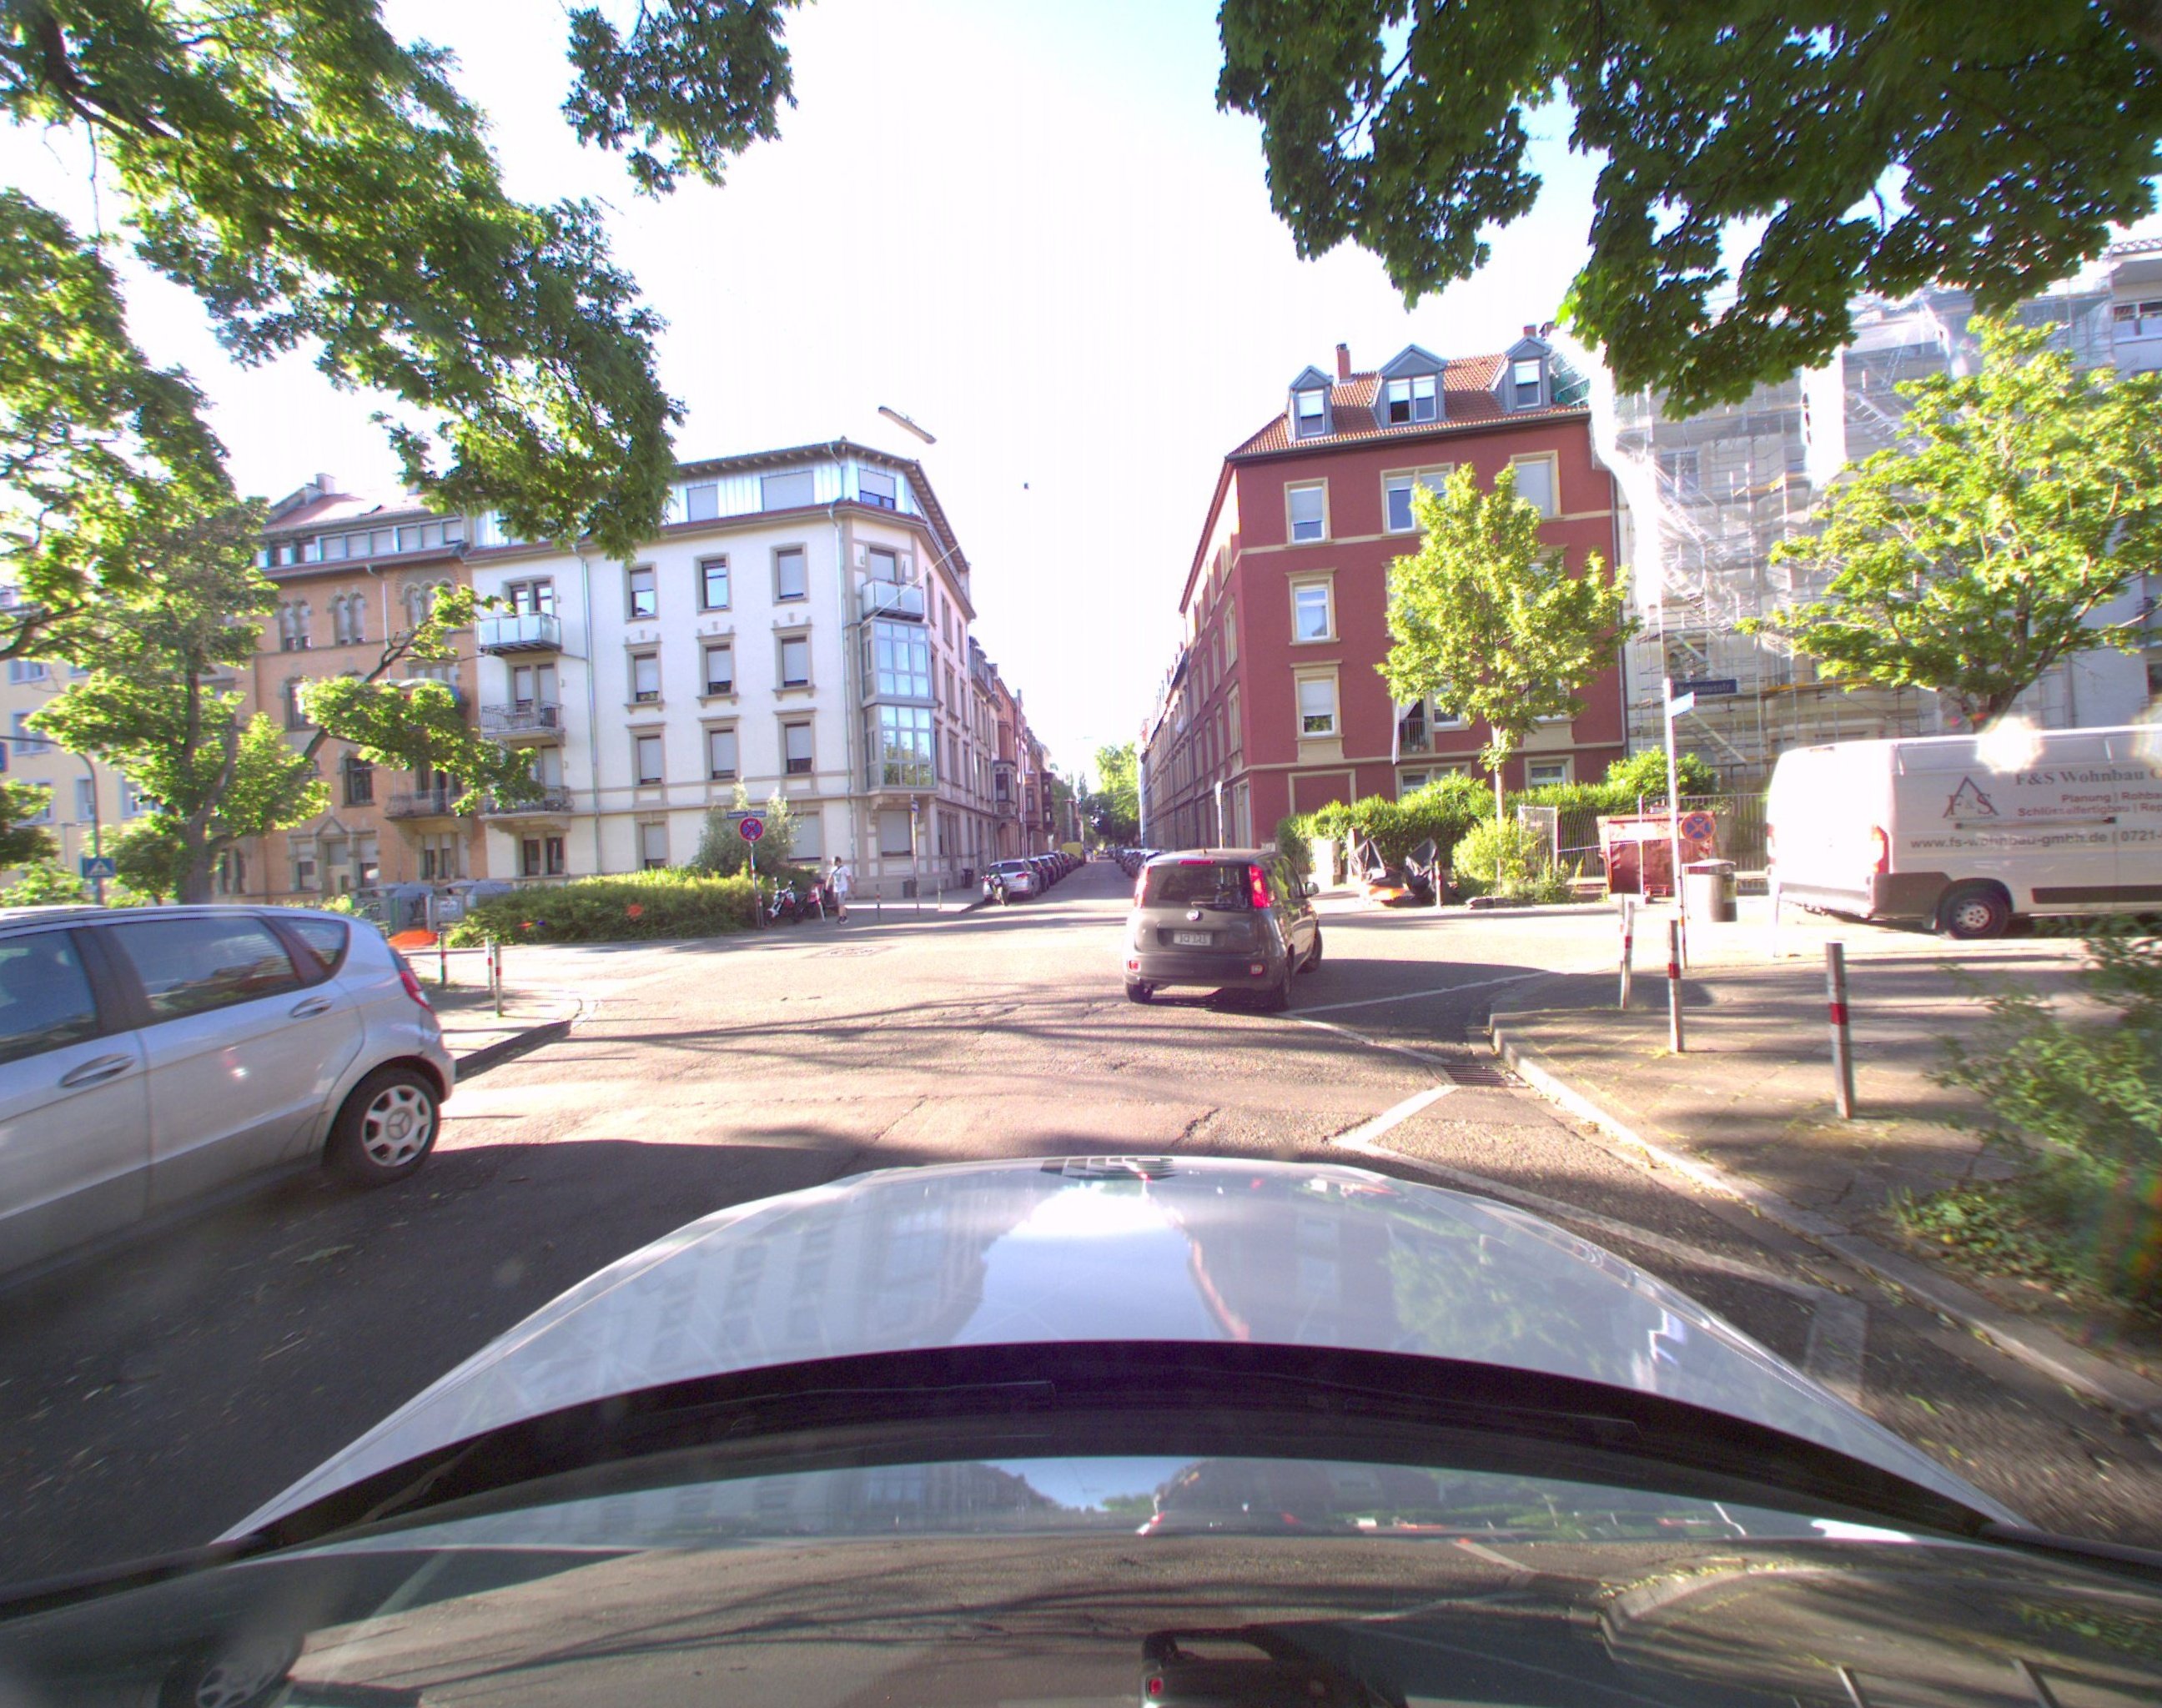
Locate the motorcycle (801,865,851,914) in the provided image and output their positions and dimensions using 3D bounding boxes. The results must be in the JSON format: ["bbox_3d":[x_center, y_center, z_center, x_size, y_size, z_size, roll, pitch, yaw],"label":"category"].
[{"bbox_3d":[-7.265,0.986,23.260,0.514,1.294,1.619,-1,1,16],"label":"motorcycle"}]

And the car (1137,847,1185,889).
[{"bbox_3d":[3.038,0.501,31.550,1.656,1.505,3.760,-2,0,3],"label":"car"}]

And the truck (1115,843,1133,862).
[{"bbox_3d":[5.033,-0.190,95.832,1.986,1.992,4.002,-3,0,2],"label":"truck"}]

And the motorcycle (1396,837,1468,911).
[{"bbox_3d":[7.600,0.387,17.779,0.821,1.404,2.564,-3,2,10],"label":"motorcycle"}]

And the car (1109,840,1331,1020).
[{"bbox_3d":[1.687,0.643,8.956,1.618,1.550,3.283,0,1,24],"label":"car"}]

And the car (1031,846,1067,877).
[{"bbox_3d":[-1.968,0.462,51.191,1.768,1.698,3.928,-6,0,3],"label":"car"}]

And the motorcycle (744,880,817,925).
[{"bbox_3d":[-7.689,1.220,20.914,0.683,0.985,1.831,2,2,22],"label":"motorcycle"}]

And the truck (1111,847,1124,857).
[{"bbox_3d":[5.806,-0.381,130.030,1.986,1.456,4.002,-3,0,2],"label":"truck"}]

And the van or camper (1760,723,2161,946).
[{"bbox_3d":[12.355,-0.293,10.201,5.552,2.445,2.152,-3,2,11],"label":"van or camper"}]

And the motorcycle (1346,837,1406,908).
[{"bbox_3d":[6.639,0.373,18.448,1.012,1.404,2.201,-3,2,14],"label":"motorcycle"}]

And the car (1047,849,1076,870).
[{"bbox_3d":[-1.583,0.464,68.136,1.954,1.479,3.928,-6,0,3],"label":"car"}]

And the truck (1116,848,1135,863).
[{"bbox_3d":[4.923,0.165,90.451,1.986,1.456,4.002,-3,0,2],"label":"truck"}]

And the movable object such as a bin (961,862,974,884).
[{"bbox_3d":[-5.246,0.872,37.574,0.510,0.952,0.501,-3,0,-1],"label":"movable object such as a bin"}]

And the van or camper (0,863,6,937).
[{"bbox_3d":[-40.053,1.734,26.966,1.982,2.636,4.934,-3,0,9],"label":"van or camper"}]

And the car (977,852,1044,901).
[{"bbox_3d":[-2.479,0.759,29.625,1.790,1.431,3.928,-6,0,3],"label":"car"}]

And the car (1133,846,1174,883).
[{"bbox_3d":[3.170,0.426,36.149,1.656,1.505,3.760,-2,0,3],"label":"car"}]

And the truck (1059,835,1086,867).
[{"bbox_3d":[-0.824,-0.295,82.238,2.062,2.925,5.071,-6,0,3],"label":"truck"}]

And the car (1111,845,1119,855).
[{"bbox_3d":[6.353,-0.755,151.037,1.362,1.618,3.416,-3,0,3],"label":"car"}]

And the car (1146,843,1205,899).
[{"bbox_3d":[3.061,0.506,27.053,1.656,1.669,3.760,-2,0,3],"label":"car"}]

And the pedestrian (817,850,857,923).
[{"bbox_3d":[-6.337,0.840,21.166,0.718,1.839,0.629,-2,0,13],"label":"pedestrian"}]

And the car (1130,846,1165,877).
[{"bbox_3d":[3.444,0.356,42.550,1.656,1.505,3.760,-2,0,3],"label":"car"}]

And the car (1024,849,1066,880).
[{"bbox_3d":[-1.985,0.576,46.030,1.821,1.479,3.928,-6,0,3],"label":"car"}]

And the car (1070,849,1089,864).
[{"bbox_3d":[-0.114,0.266,97.498,1.954,1.479,3.928,-6,0,3],"label":"car"}]

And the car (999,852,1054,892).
[{"bbox_3d":[-2.262,0.733,34.710,1.770,1.412,3.928,-6,0,3],"label":"car"}]

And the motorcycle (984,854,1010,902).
[{"bbox_3d":[-2.723,0.764,26.330,0.696,1.460,1.746,-4,0,-8],"label":"motorcycle"}]

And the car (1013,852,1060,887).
[{"bbox_3d":[-2.180,0.714,40.929,1.818,1.467,3.928,-6,0,3],"label":"car"}]

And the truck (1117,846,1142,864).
[{"bbox_3d":[4.084,0.056,69.507,1.986,1.456,4.002,-3,0,2],"label":"truck"}]

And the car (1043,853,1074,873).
[{"bbox_3d":[-1.637,0.638,60.479,1.954,1.224,3.928,-6,0,3],"label":"car"}]

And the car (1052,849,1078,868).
[{"bbox_3d":[-1.425,0.398,75.147,1.954,1.479,3.928,-6,0,3],"label":"car"}]

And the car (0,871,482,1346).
[{"bbox_3d":[-4.566,0.976,2.948,1.690,1.550,3.920,-6,0,1],"label":"car"}]

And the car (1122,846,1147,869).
[{"bbox_3d":[3.667,0.208,56.230,1.656,1.505,3.760,-2,0,3],"label":"car"}]

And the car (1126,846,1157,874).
[{"bbox_3d":[3.464,0.300,47.142,1.656,1.532,3.760,-2,0,3],"label":"car"}]
